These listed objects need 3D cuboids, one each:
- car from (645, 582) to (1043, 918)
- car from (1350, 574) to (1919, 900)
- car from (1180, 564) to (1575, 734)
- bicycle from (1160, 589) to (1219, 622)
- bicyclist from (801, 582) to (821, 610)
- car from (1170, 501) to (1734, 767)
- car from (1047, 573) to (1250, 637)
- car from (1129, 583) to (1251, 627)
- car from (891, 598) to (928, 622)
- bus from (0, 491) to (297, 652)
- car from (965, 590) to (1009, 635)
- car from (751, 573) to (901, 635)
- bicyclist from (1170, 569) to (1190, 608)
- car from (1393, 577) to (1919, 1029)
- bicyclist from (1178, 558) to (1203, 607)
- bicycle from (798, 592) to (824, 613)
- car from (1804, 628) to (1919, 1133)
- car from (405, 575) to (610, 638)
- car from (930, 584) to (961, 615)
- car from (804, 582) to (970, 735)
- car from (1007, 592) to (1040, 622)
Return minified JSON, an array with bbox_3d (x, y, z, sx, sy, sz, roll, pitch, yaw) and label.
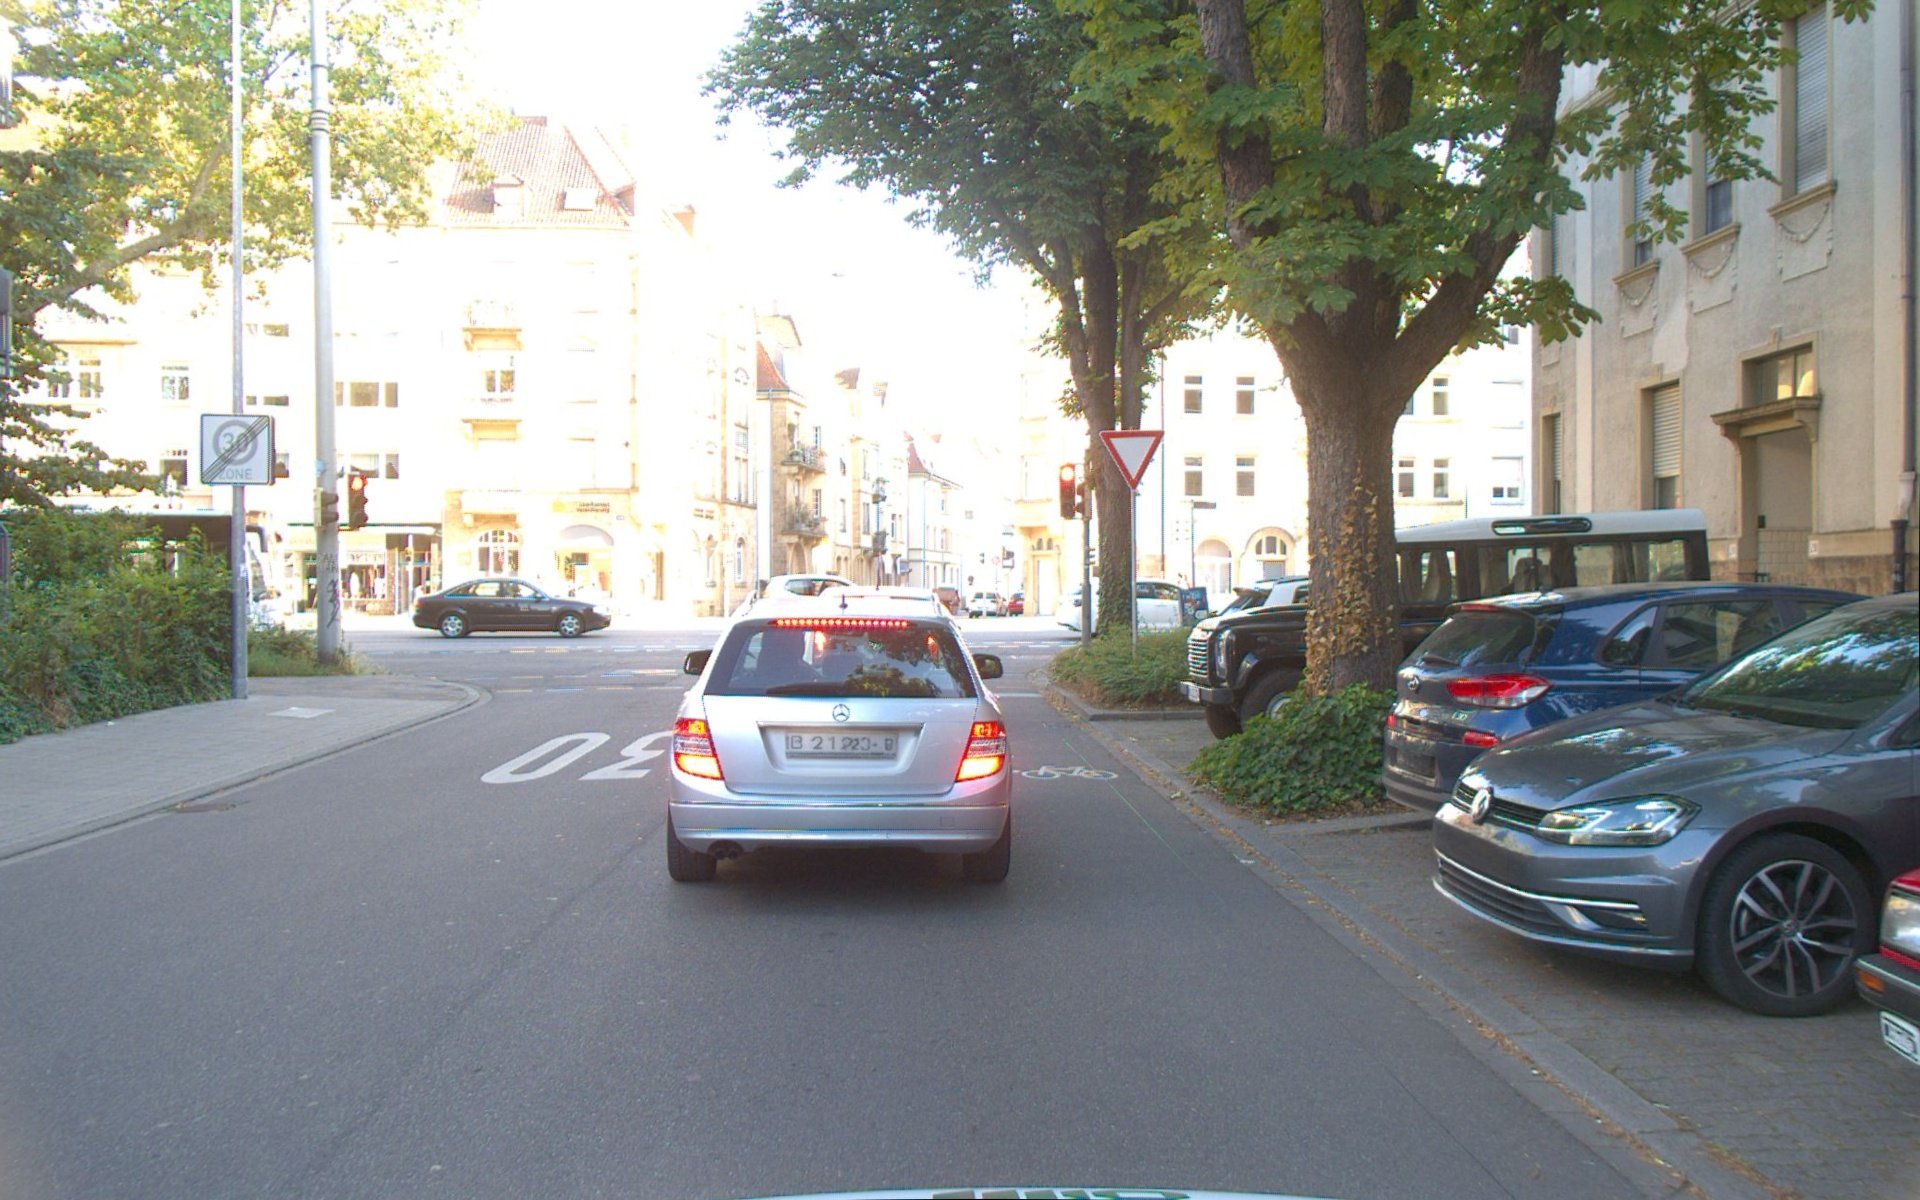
[{"bbox_3d":[-0.622,0.644,9.585,1.742,1.477,4.545,0,0,-3],"label":"car"},{"bbox_3d":[4.131,0.628,8.791,3.651,1.477,1.707,-1,0,-5],"label":"car"},{"bbox_3d":[4.294,0.480,17.339,3.651,1.597,1.707,-1,0,-5],"label":"car"},{"bbox_3d":[8.967,0.202,64.656,2.213,1.268,0.636,0,0,-6],"label":"bicycle"},{"bbox_3d":[-6.966,-0.190,77.447,0.754,1.312,0.753,1,1,10],"label":"bicyclist"},{"bbox_3d":[4.177,0.262,14.413,4.378,2.071,1.699,-1,0,-5],"label":"car"},{"bbox_3d":[4.523,0.104,39.883,4.577,1.473,1.735,0,1,-11],"label":"car"},{"bbox_3d":[6.475,0.122,46.686,3.163,1.202,1.317,0,0,-10],"label":"car"},{"bbox_3d":[-3.251,0.623,106.588,1.796,1.427,4.003,0,1,7],"label":"car"},{"bbox_3d":[-19.749,-0.599,34.863,10.260,3.257,2.905,-1,1,-9],"label":"bus"},{"bbox_3d":[1.483,0.642,90.081,1.987,2.319,4.003,0,1,7],"label":"car"},{"bbox_3d":[-3.353,0.094,41.131,3.619,1.474,1.513,0,0,-10],"label":"car"},{"bbox_3d":[8.393,-0.445,63.245,0.631,1.451,0.636,0,0,-6],"label":"bicyclist"},{"bbox_3d":[3.956,0.649,6.570,3.974,1.477,1.721,-1,0,-5],"label":"car"},{"bbox_3d":[9.011,-0.679,64.658,0.874,1.892,0.636,0,0,-6],"label":"bicyclist"},{"bbox_3d":[-6.968,0.109,77.449,0.754,0.950,1.942,1,1,10],"label":"bicycle"},{"bbox_3d":[4.613,0.717,4.325,4.056,1.338,1.628,-1,0,-6],"label":"car"},{"bbox_3d":[-10.869,0.134,40.005,4.603,1.453,1.715,0,0,-10],"label":"car"},{"bbox_3d":[-1.038,-0.064,121.467,1.749,2.242,4.003,0,1,7],"label":"car"},{"bbox_3d":[-0.815,0.546,18.173,1.587,1.472,4.342,0,0,-3],"label":"car"},{"bbox_3d":[4.103,0.430,106.177,1.796,1.775,4.003,0,1,7],"label":"car"}]
